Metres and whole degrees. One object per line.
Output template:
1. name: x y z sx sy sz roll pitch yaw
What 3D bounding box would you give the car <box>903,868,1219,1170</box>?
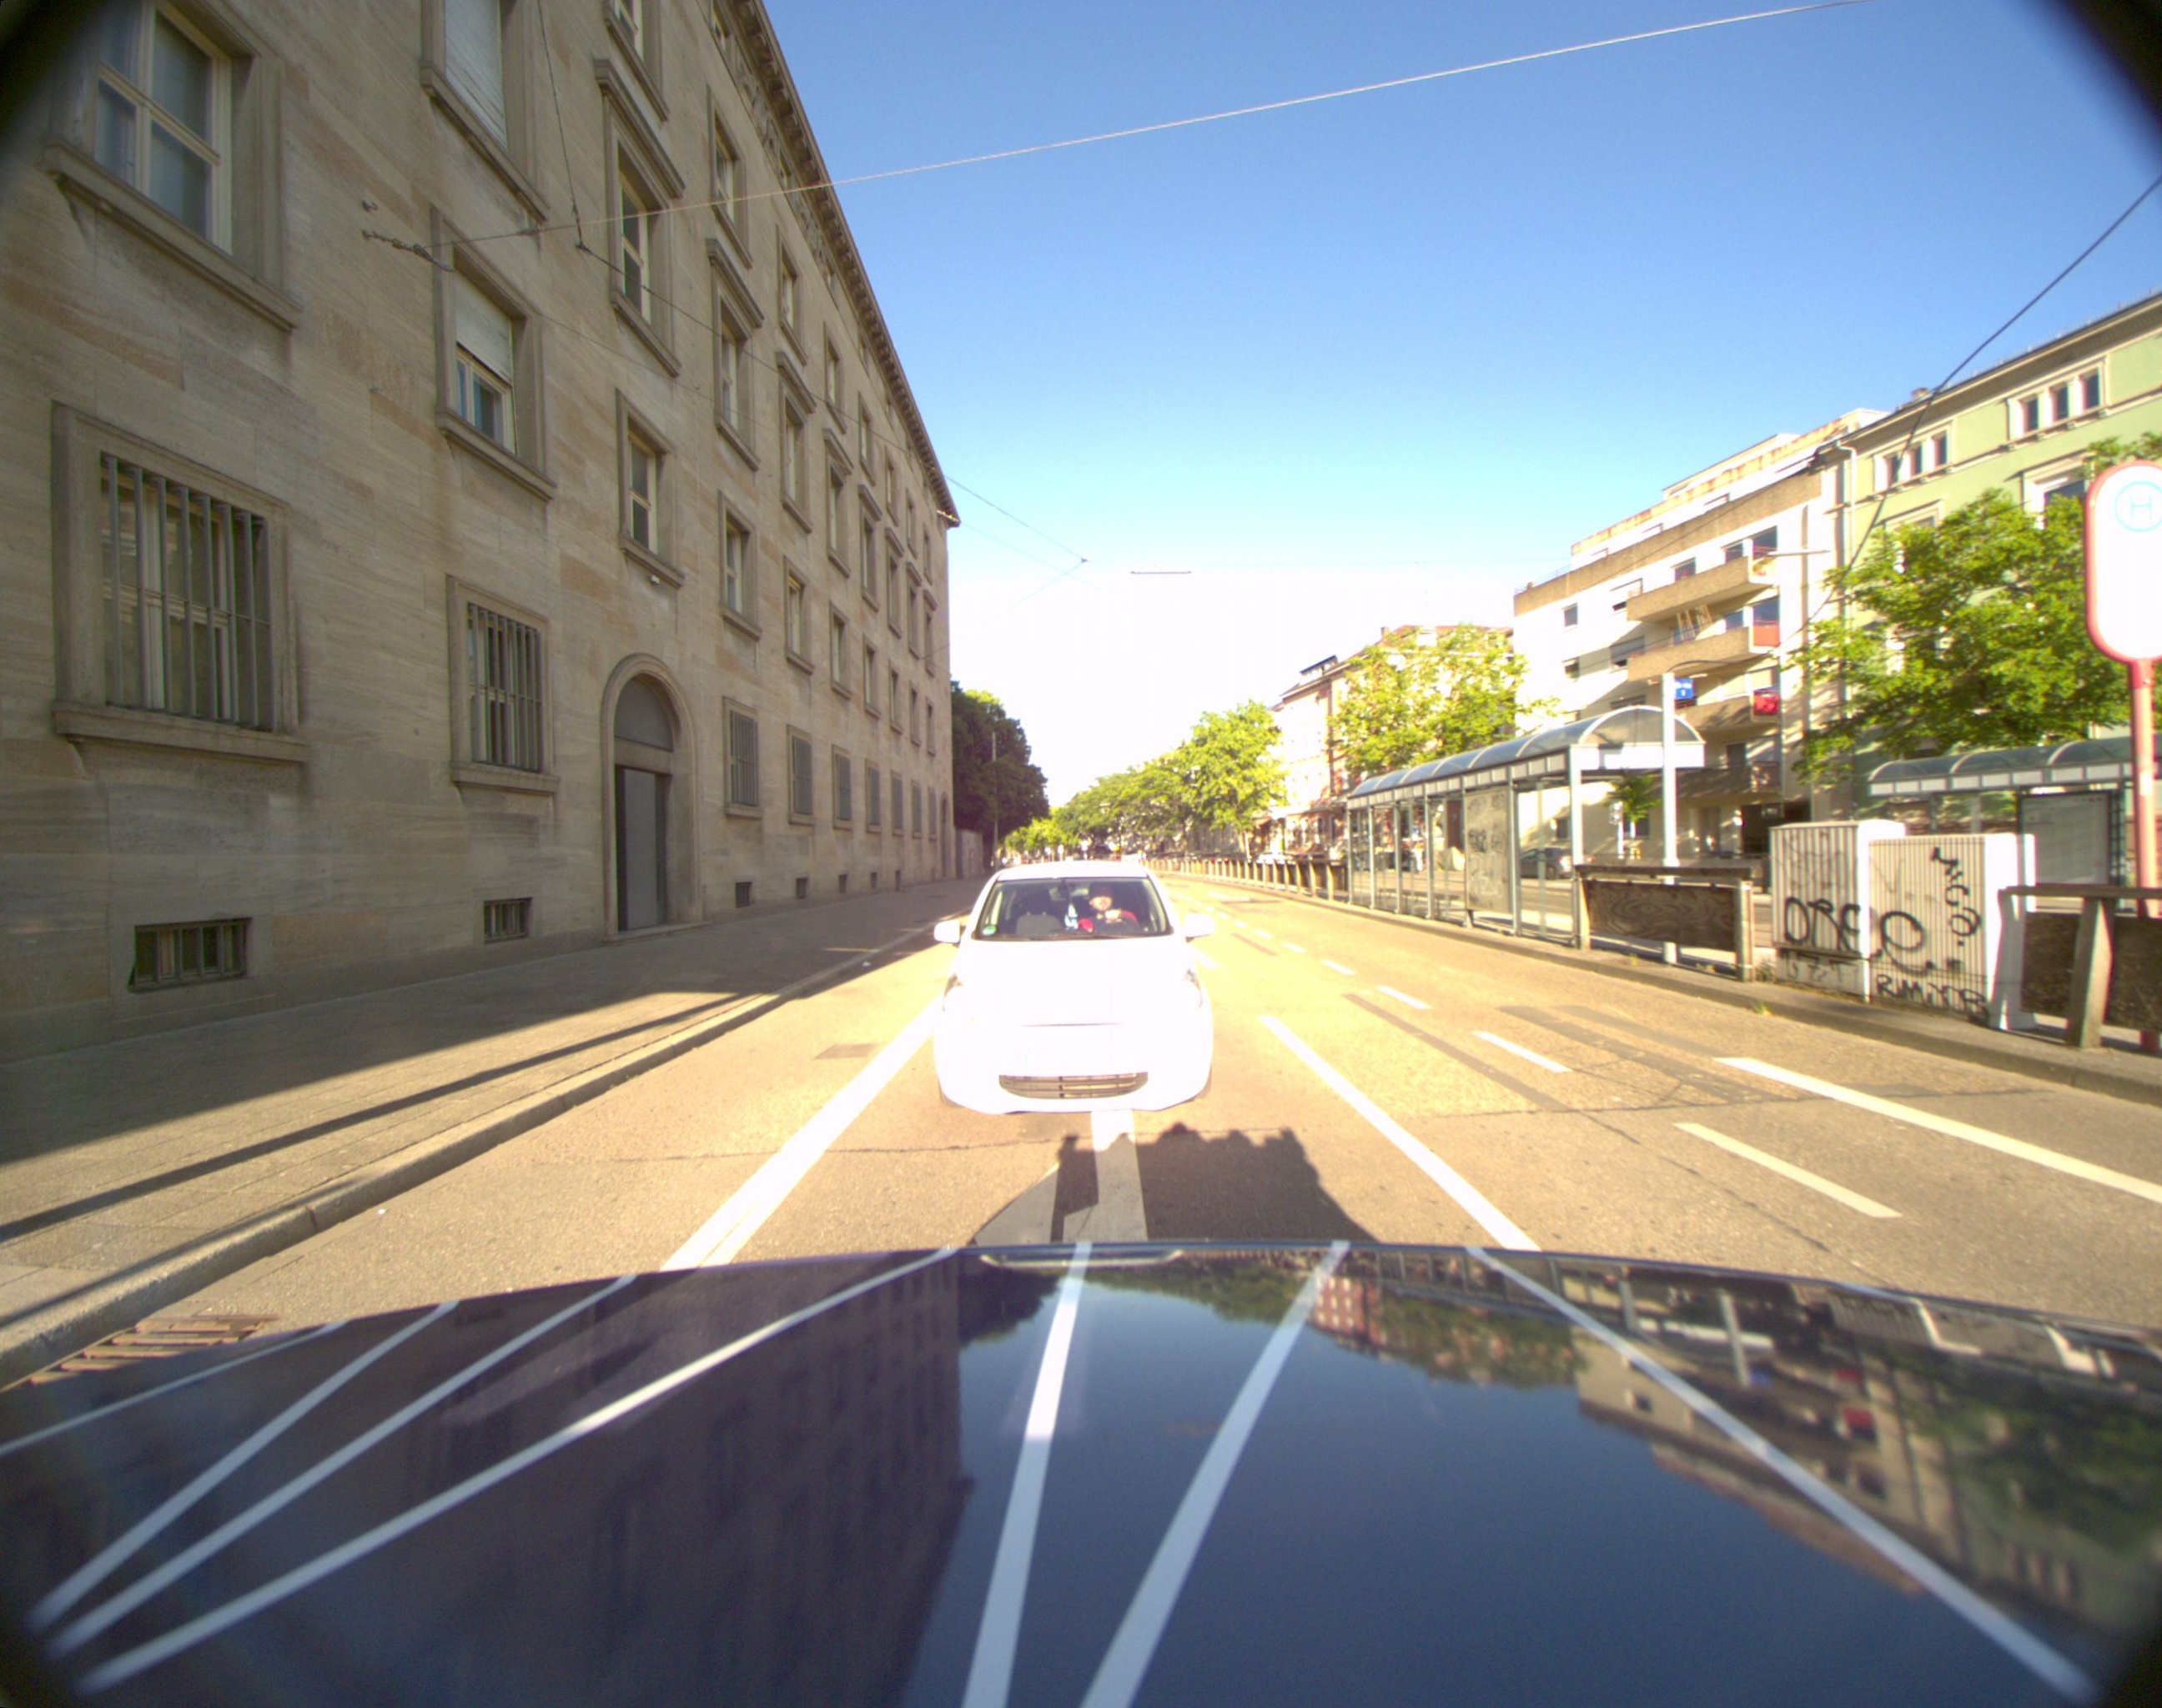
1. car: -0.080 0.901 5.803 1.612 1.462 3.631 -2 0 1

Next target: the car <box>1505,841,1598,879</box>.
1. car: 20.908 0.235 33.928 1.631 1.558 3.598 -2 1 -5

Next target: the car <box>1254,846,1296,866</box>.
1. car: 16.250 0.160 63.472 3.607 1.558 1.627 -3 1 -42

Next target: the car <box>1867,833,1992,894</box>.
1. car: 24.456 0.234 21.886 3.605 1.558 1.627 -3 1 -29

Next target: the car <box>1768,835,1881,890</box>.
1. car: 23.877 0.228 24.398 3.605 1.558 1.627 -3 1 -29

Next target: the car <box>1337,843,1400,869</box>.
1. car: 19.536 0.129 51.718 3.599 1.558 1.630 -2 1 -7
